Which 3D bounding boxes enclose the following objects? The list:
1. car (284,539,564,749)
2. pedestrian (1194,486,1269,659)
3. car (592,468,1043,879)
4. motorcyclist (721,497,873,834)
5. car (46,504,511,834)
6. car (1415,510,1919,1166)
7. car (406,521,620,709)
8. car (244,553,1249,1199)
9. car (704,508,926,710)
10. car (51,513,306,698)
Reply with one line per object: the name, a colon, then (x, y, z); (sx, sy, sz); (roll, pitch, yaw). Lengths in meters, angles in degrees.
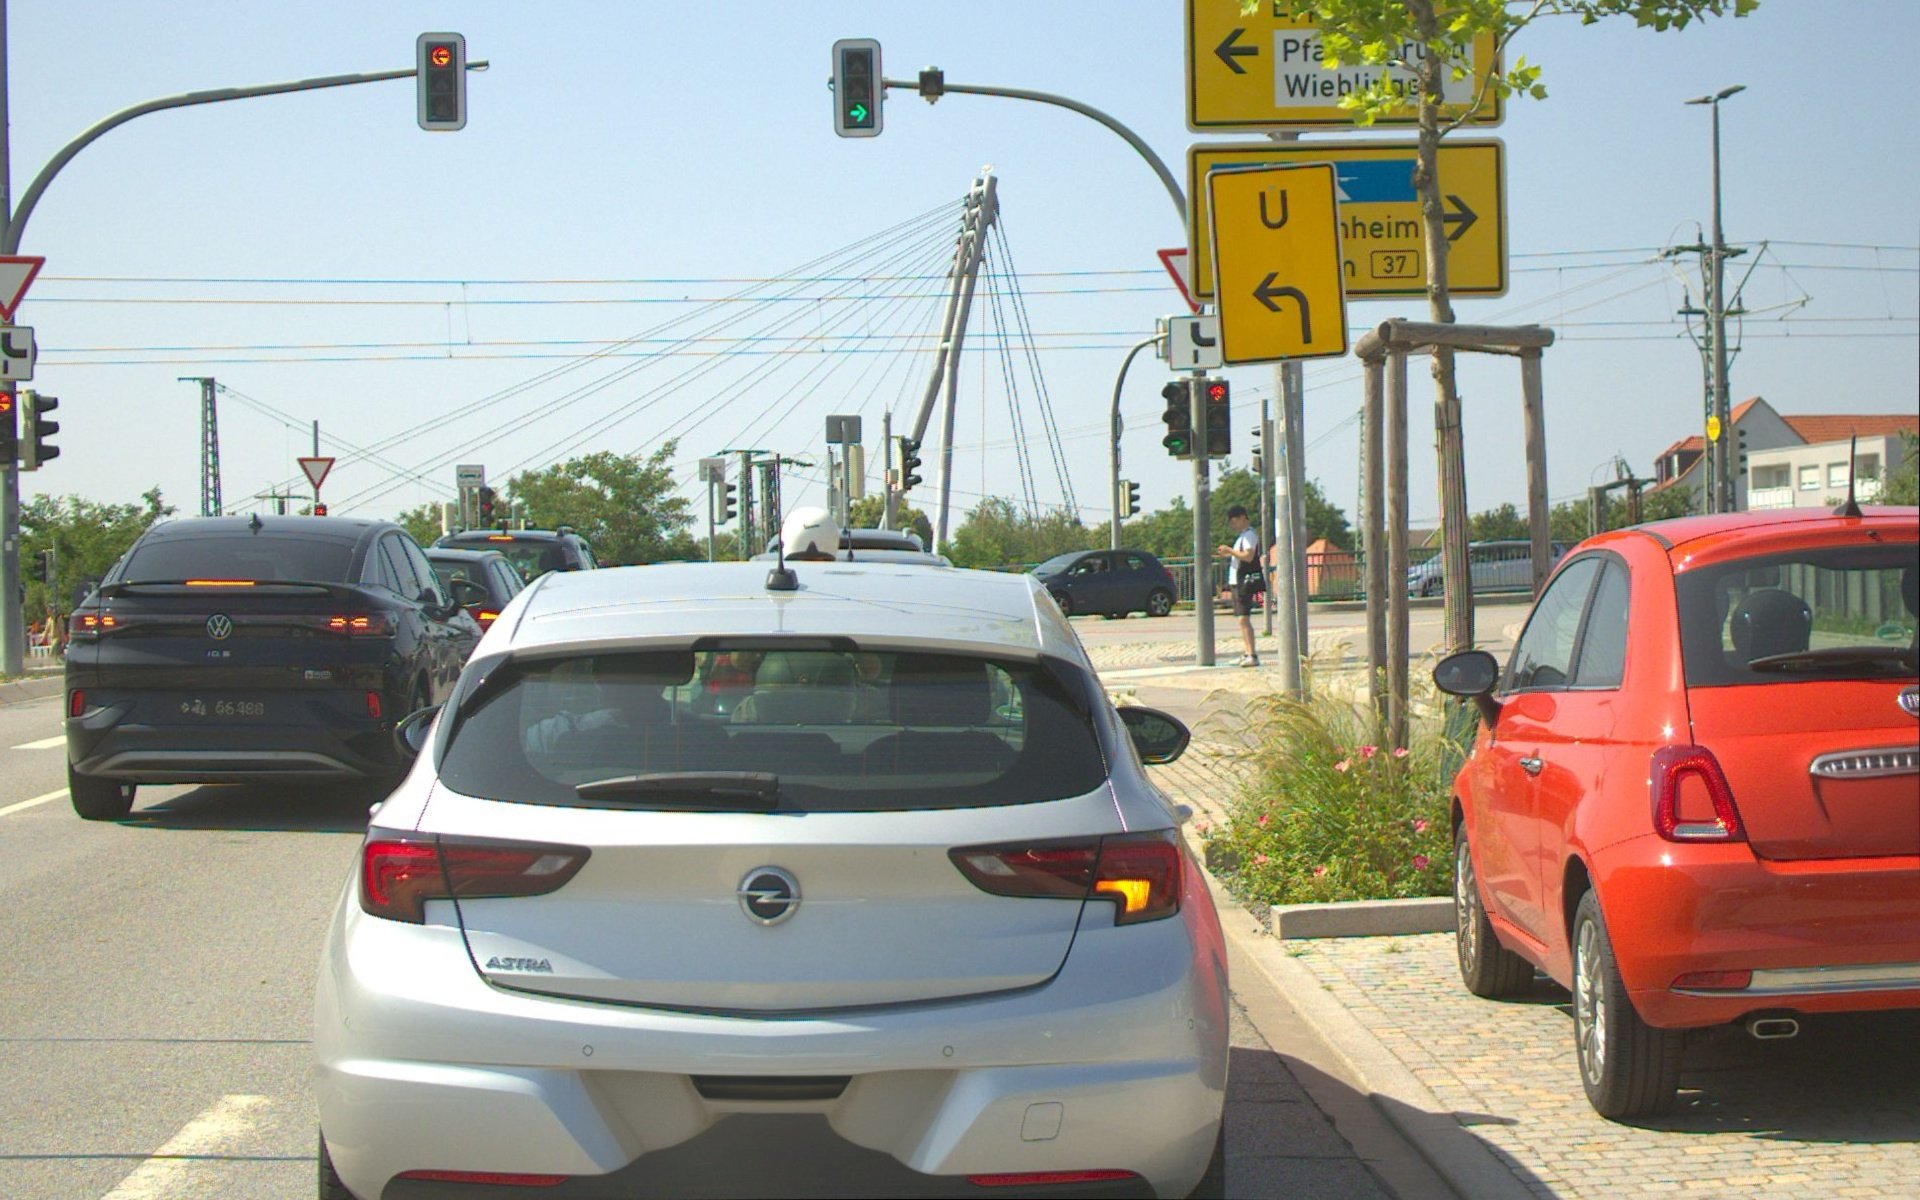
car: (-3.923, 0.284, 25.676); (1.575, 1.429, 3.786); (1, 1, -1)
pedestrian: (2.942, -0.296, 37.303); (0.647, 1.830, 0.798); (-2, 0, -2)
car: (-0.663, 0.273, 17.583); (1.993, 1.814, 4.402); (1, 2, -1)
motorcyclist: (-0.682, 0.267, 14.529); (0.581, 1.384, 0.707); (1, 0, 1)
car: (-3.708, 0.325, 19.457); (1.801, 1.636, 4.366); (1, 1, -1)
car: (2.326, 0.518, 9.746); (1.610, 1.491, 3.352); (-2, 1, 1)
car: (-4.083, 0.111, 31.852); (1.649, 1.610, 3.821); (1, 1, -3)
car: (-0.478, 0.644, 8.019); (1.742, 1.473, 4.001); (1, 1, -3)
car: (-1.165, 0.017, 29.168); (1.724, 1.558, 4.000); (1, 2, 0)
car: (-6.973, 0.028, 31.003); (1.597, 1.542, 3.763); (1, 1, -3)
